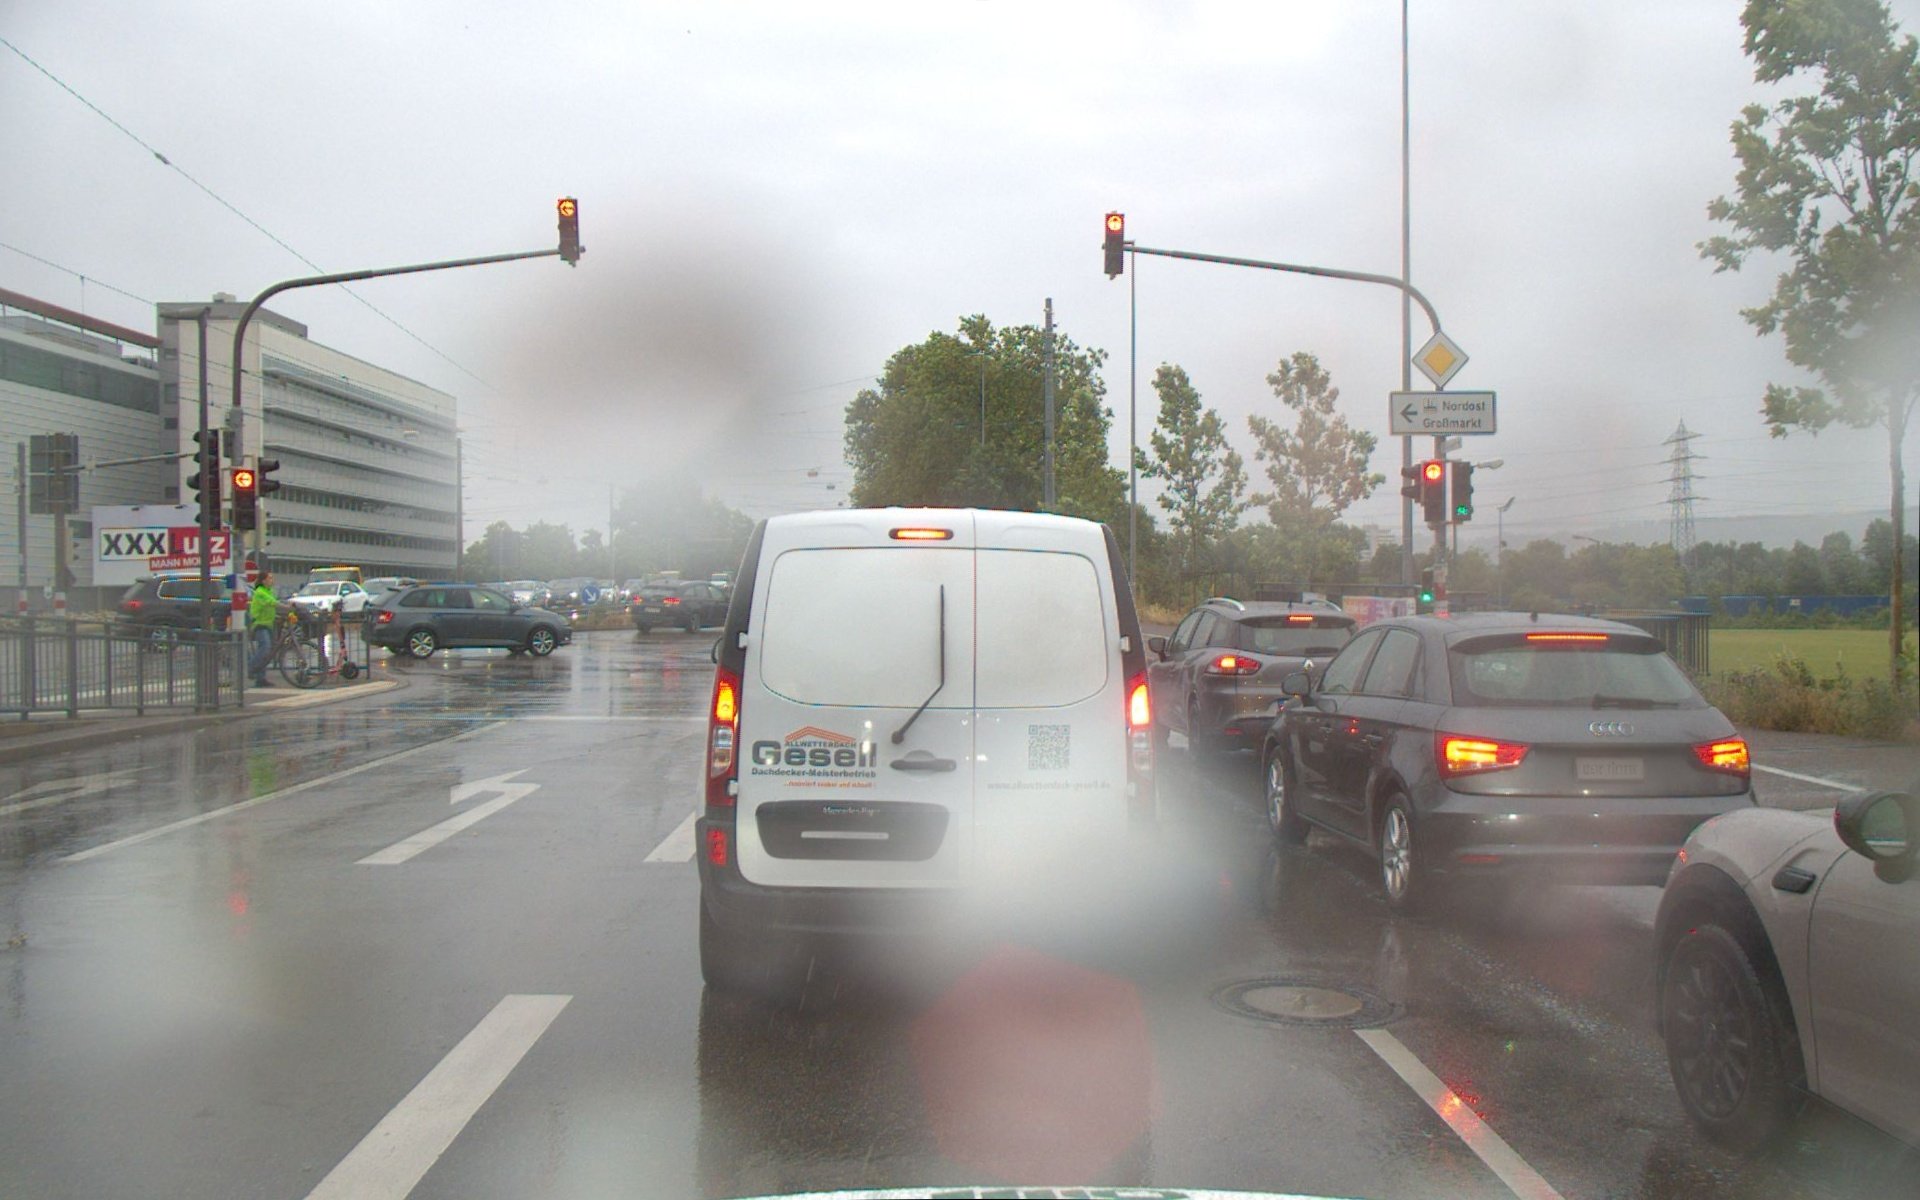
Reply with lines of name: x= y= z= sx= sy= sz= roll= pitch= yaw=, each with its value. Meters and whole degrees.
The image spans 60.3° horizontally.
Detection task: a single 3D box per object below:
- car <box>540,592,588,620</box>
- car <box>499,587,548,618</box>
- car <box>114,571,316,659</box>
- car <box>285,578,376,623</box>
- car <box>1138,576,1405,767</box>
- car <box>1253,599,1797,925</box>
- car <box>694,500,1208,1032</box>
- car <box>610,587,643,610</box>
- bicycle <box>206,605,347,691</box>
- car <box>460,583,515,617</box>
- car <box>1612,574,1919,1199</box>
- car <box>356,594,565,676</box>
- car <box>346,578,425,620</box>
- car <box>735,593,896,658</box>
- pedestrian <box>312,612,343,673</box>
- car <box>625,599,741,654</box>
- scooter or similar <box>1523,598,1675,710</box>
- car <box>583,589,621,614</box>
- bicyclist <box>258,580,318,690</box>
car: x=-21.736 y=0.333 z=90.866 sx=1.676 sy=1.451 sz=3.808 roll=2 pitch=-1 yaw=-1
car: x=-22.015 y=0.143 z=83.553 sx=1.528 sy=1.451 sz=3.568 roll=2 pitch=-1 yaw=-1
car: x=-16.382 y=0.339 z=36.421 sx=3.751 sy=1.703 sz=1.687 roll=4 pitch=0 yaw=-34
car: x=-21.583 y=0.047 z=56.850 sx=1.676 sy=1.451 sz=3.808 roll=2 pitch=-1 yaw=-1
car: x=2.782 y=0.589 z=15.585 sx=1.650 sy=1.534 sz=3.919 roll=1 pitch=0 yaw=-2
car: x=2.789 y=0.734 z=9.023 sx=1.565 sy=1.390 sz=3.628 roll=-1 pitch=-1 yaw=-3
car: x=-0.170 y=0.530 z=7.671 sx=1.719 sy=1.780 sz=4.166 roll=1 pitch=1 yaw=-4
car: x=-22.658 y=-0.090 z=112.430 sx=1.528 sy=1.451 sz=3.568 roll=2 pitch=-1 yaw=-1
bicycle: x=-9.575 y=0.670 z=23.218 sx=1.745 sy=1.157 sz=0.512 roll=1 pitch=0 yaw=-43
car: x=-21.974 y=0.026 z=77.066 sx=1.528 sy=1.451 sz=3.568 roll=2 pitch=-1 yaw=-1
car: x=2.938 y=0.753 z=3.267 sx=1.668 sy=1.534 sz=3.879 roll=3 pitch=0 yaw=-1
car: x=-10.130 y=0.724 z=33.604 sx=3.749 sy=1.422 sz=1.519 roll=4 pitch=0 yaw=-33
car: x=-21.760 y=-0.017 z=62.754 sx=1.676 sy=1.451 sz=3.808 roll=2 pitch=-1 yaw=-1
car: x=-3.642 y=0.660 z=42.084 sx=3.889 sy=1.422 sz=1.513 roll=4 pitch=0 yaw=-41
pedestrian: x=-9.695 y=0.643 z=25.371 sx=0.309 sy=0.913 sz=0.380 roll=2 pitch=0 yaw=-3
car: x=-7.850 y=0.762 z=47.078 sx=1.612 sy=1.422 sz=3.453 roll=4 pitch=0 yaw=22
scooter or similar: x=7.639 y=0.600 z=19.943 sx=0.676 sy=1.232 sz=3.020 roll=0 pitch=0 yaw=0
car: x=-21.813 y=0.108 z=100.880 sx=1.528 sy=1.451 sz=3.568 roll=2 pitch=-1 yaw=-1
bicyclist: x=-9.476 y=0.491 z=23.319 sx=0.600 sy=1.517 sz=0.591 roll=2 pitch=0 yaw=-41
